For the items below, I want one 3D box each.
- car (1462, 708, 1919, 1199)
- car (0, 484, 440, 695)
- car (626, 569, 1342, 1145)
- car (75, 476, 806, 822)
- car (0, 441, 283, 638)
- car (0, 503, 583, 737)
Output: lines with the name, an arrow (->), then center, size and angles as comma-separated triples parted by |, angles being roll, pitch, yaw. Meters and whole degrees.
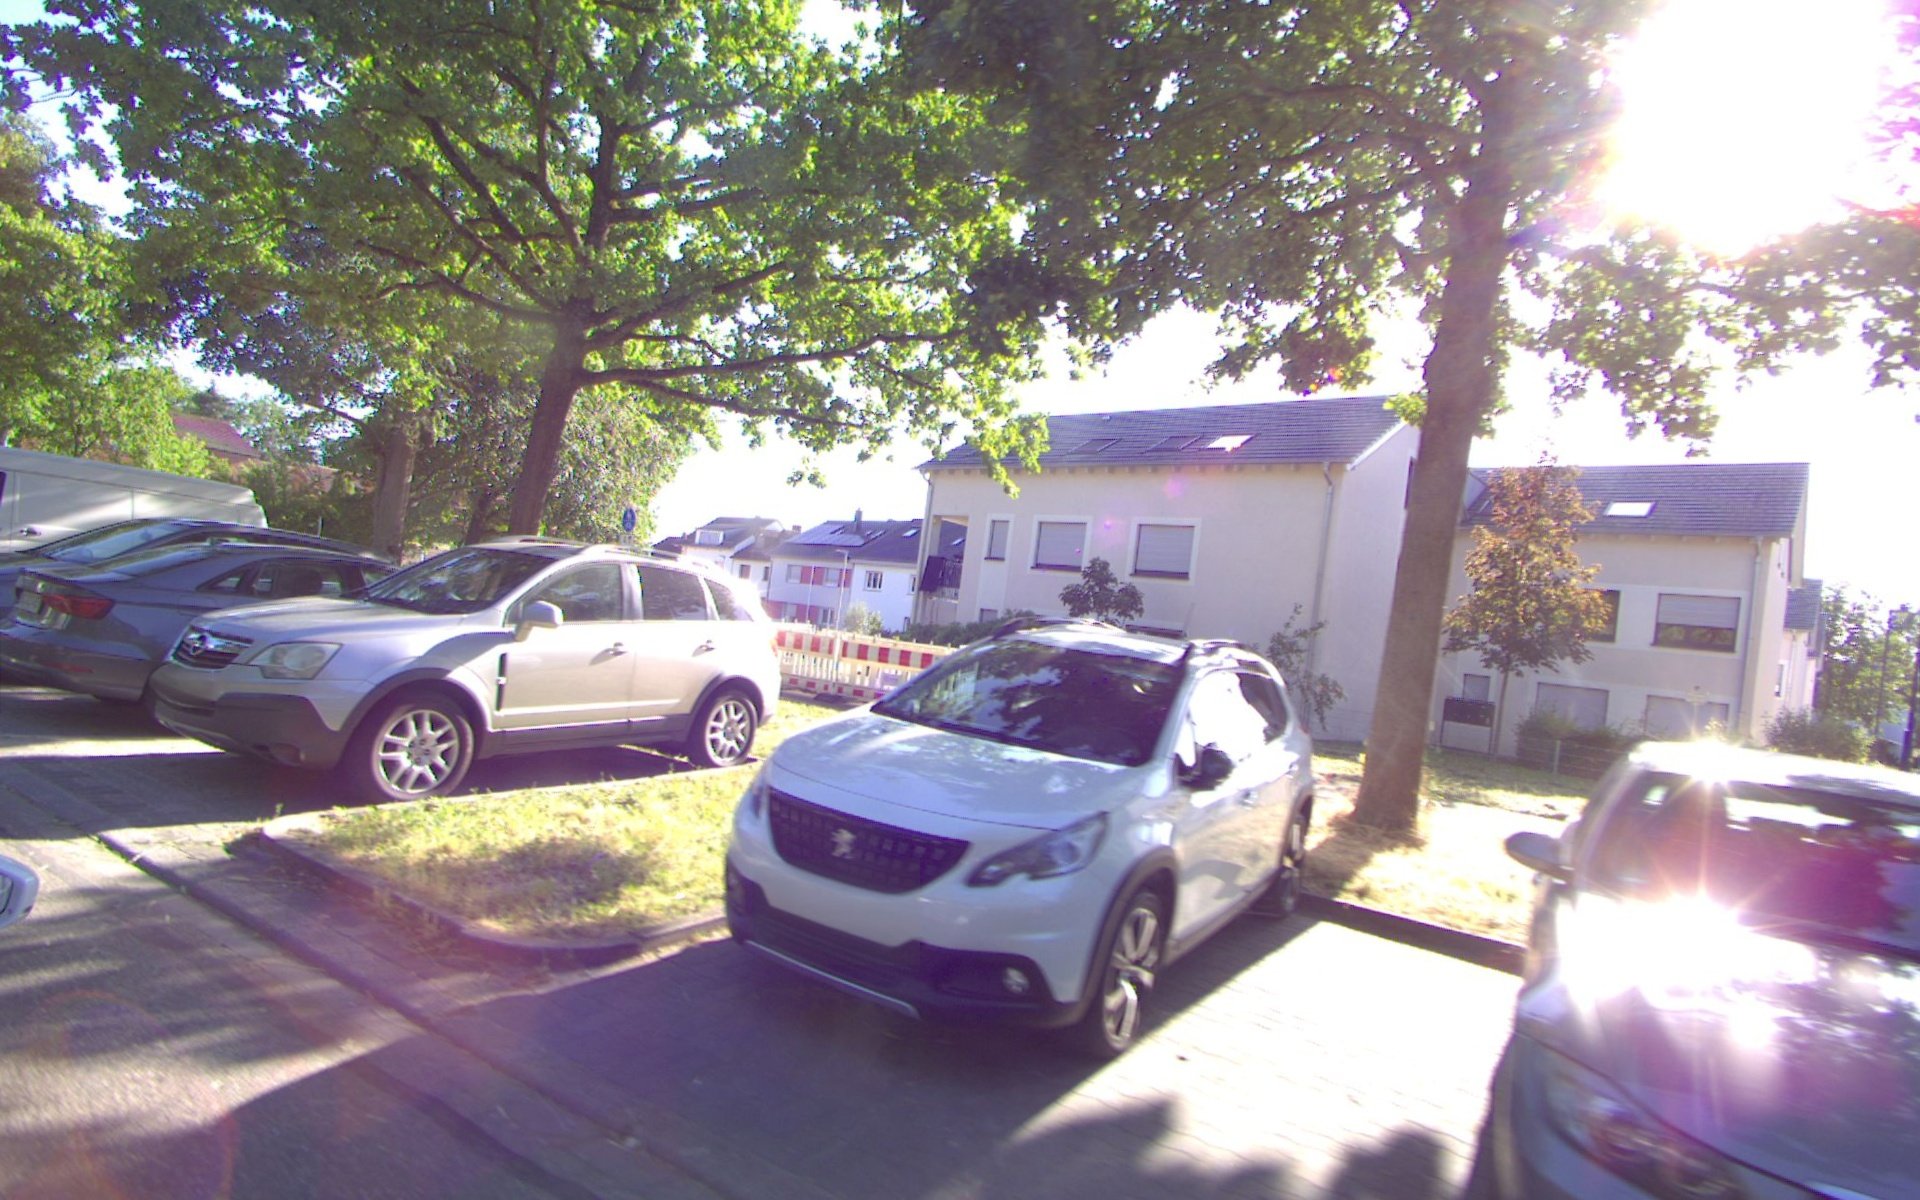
car -> 2.951, 1.223, 3.395 | 1.879, 1.406, 4.452 | 7, -1, 31
car -> -7.733, -0.054, 9.845 | 1.901, 1.586, 4.224 | 7, -3, 30
car -> 0.548, 0.854, 4.995 | 1.747, 1.515, 3.890 | 7, 0, 31
car -> -3.303, 0.335, 7.404 | 1.819, 1.671, 4.391 | 7, 0, 30
car -> -11.927, -0.839, 12.609 | 2.047, 2.129, 5.198 | 6, -2, 30
car -> -5.572, 0.258, 8.567 | 1.870, 1.450, 3.993 | 7, -2, 33
